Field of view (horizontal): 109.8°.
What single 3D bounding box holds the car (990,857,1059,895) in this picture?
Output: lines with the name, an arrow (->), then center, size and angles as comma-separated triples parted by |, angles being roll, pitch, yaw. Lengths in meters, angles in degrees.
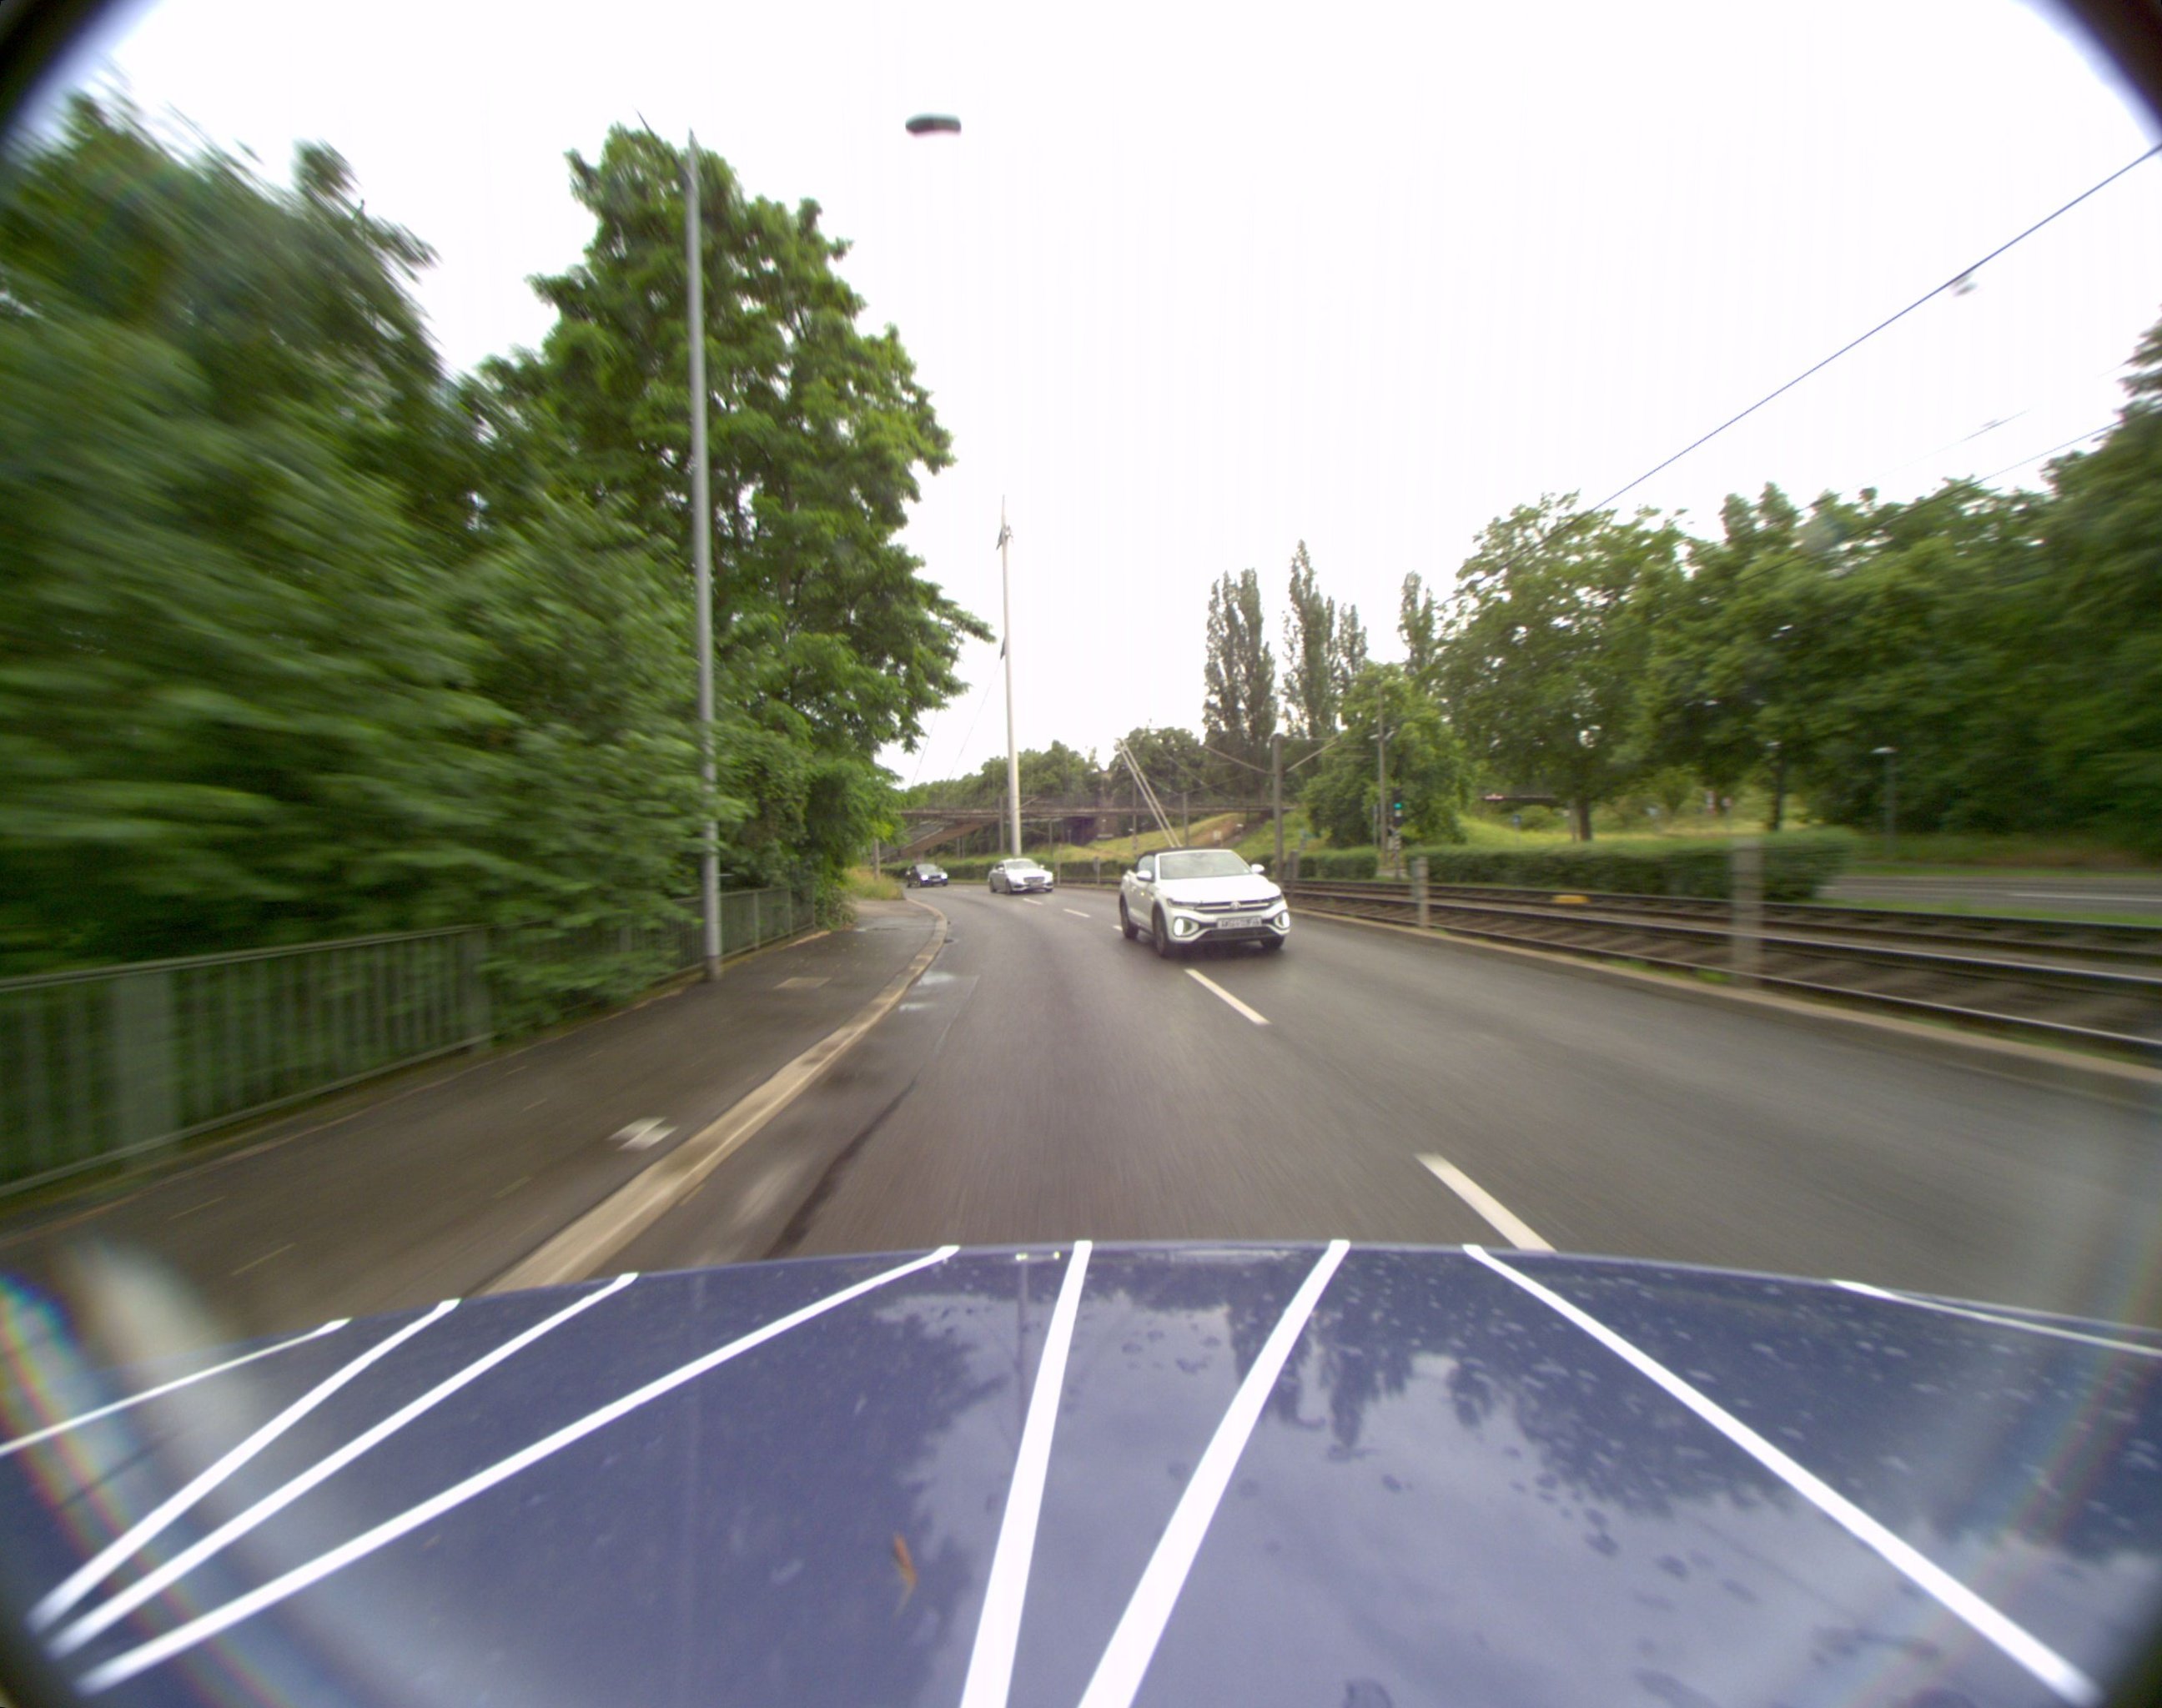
car -> -2.440, 0.884, 31.765 | 1.874, 1.348, 4.054 | -4, 0, -19

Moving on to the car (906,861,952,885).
car -> -9.457, 1.139, 47.049 | 1.739, 1.344, 3.991 | -3, 1, -26

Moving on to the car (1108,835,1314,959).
car -> 1.791, 0.566, 12.119 | 1.877, 1.515, 4.537 | -3, 0, -8
